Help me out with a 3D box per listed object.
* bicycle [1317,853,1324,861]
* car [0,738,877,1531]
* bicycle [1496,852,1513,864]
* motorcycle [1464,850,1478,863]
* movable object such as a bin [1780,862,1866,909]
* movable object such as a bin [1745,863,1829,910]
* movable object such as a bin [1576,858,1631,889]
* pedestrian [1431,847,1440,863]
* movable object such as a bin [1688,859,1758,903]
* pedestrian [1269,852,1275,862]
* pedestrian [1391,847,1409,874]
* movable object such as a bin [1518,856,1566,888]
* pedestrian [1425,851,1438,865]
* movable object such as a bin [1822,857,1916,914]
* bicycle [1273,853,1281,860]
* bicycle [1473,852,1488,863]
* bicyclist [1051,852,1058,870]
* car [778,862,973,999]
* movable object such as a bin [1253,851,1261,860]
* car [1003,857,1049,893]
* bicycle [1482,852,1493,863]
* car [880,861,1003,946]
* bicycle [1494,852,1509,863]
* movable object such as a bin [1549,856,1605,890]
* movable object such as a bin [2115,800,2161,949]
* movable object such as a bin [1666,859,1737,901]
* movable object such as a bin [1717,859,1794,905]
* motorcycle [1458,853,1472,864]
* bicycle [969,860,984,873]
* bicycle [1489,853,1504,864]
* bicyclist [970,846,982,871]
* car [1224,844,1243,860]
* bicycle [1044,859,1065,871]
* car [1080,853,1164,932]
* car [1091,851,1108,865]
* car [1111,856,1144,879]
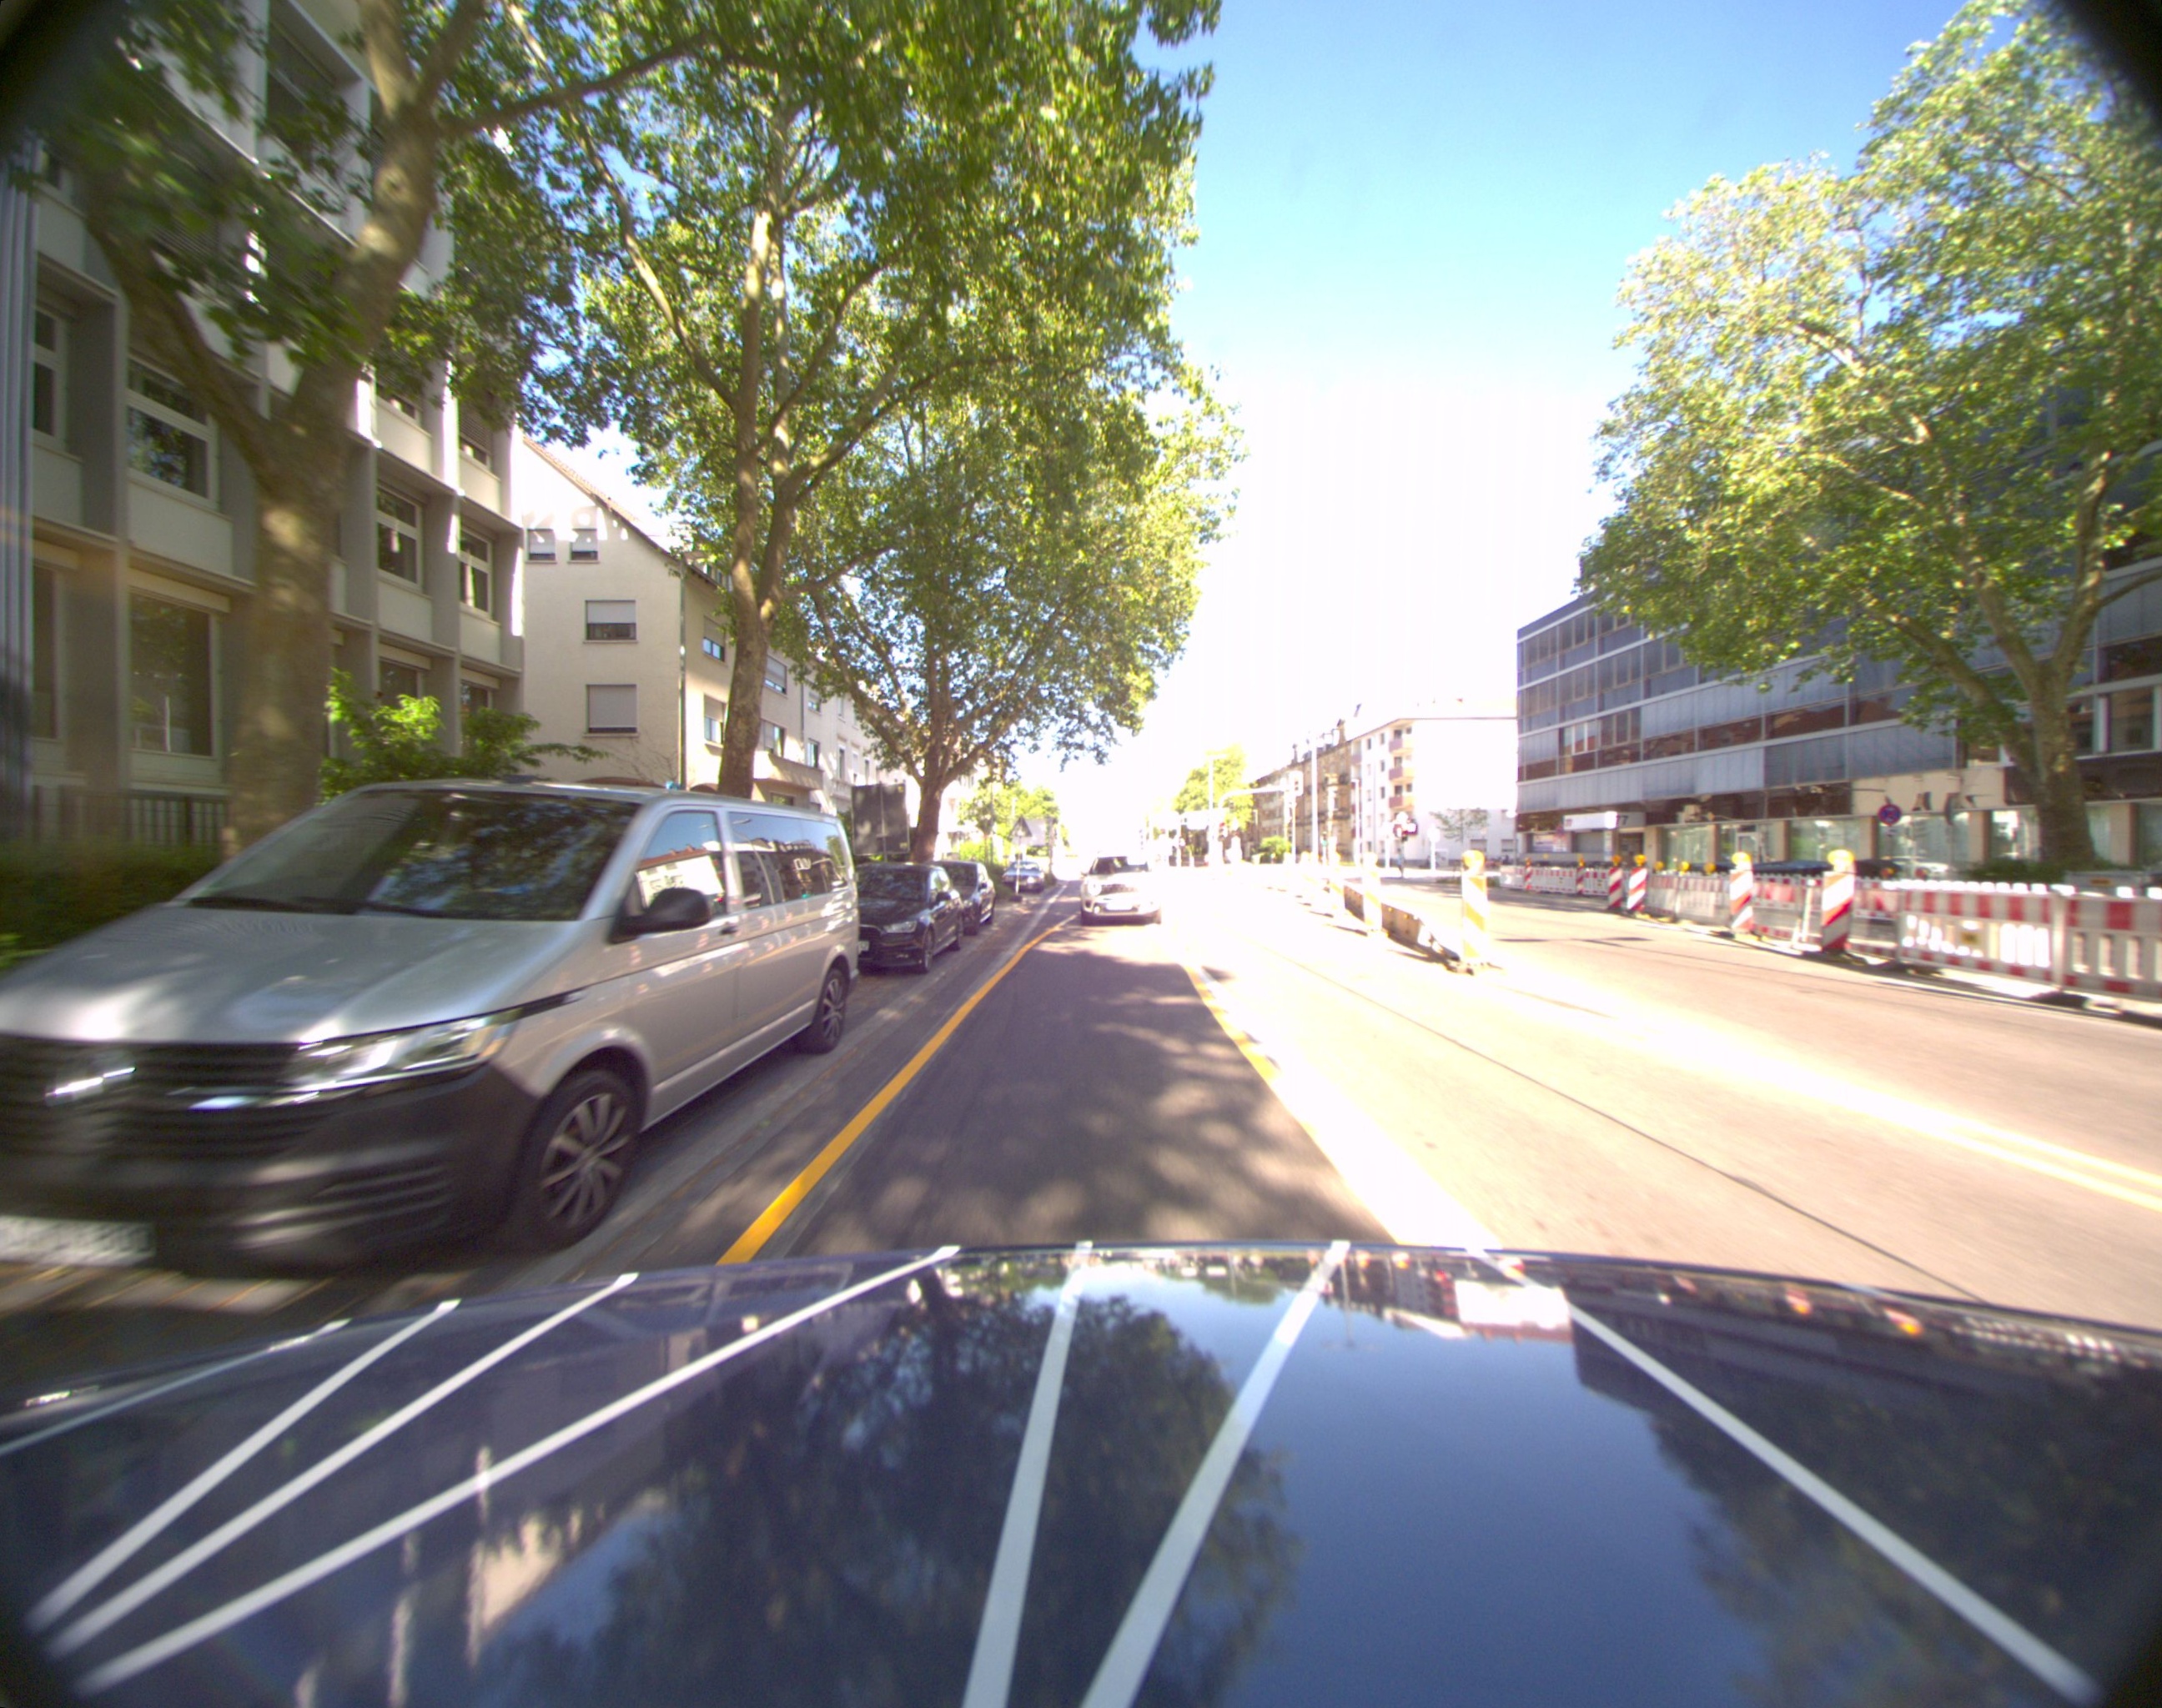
[{"bbox_3d":[27.559,0.375,87.443,0.305,0.952,1.940,0,0,1],"label":"bicycle"},{"bbox_3d":[-2.945,0.684,4.485,2.031,1.935,5.272,-1,0,0],"label":"car"},{"bbox_3d":[36.599,0.332,65.682,0.490,1.062,1.737,-1,0,3],"label":"bicycle"},{"bbox_3d":[34.573,0.247,67.356,0.612,1.135,1.784,-1,0,9],"label":"motorcycle"},{"bbox_3d":[21.258,0.873,21.817,0.982,1.263,1.540,-1,0,0],"label":"movable object such as a bin"},{"bbox_3d":[20.240,0.907,21.830,0.982,1.263,1.540,-1,0,0],"label":"movable object such as a bin"},{"bbox_3d":[20.969,0.777,30.514,1.397,1.196,1.241,-1,1,3],"label":"movable object such as a bin"},{"bbox_3d":[32.667,0.061,70.003,0.601,1.488,0.695,-1,1,4],"label":"pedestrian"},{"bbox_3d":[20.402,0.850,24.164,1.413,1.330,0.936,-1,1,3],"label":"movable object such as a bin"},{"bbox_3d":[26.848,0.404,106.858,0.568,1.370,1.089,1,2,-1],"label":"pedestrian"},{"bbox_3d":[20.562,0.431,48.989,0.866,1.701,1.013,-1,0,8],"label":"pedestrian"},{"bbox_3d":[20.951,0.814,34.590,1.116,1.380,1.856,-1,0,2],"label":"movable object such as a bin"},{"bbox_3d":[30.545,0.340,66.281,0.719,1.146,0.788,-1,1,-12],"label":"pedestrian"},{"bbox_3d":[20.739,0.796,20.002,1.637,1.414,1.260,-1,1,-25],"label":"movable object such as a bin"},{"bbox_3d":[27.558,0.403,107.034,0.468,0.999,2.250,-2,0,-1],"label":"bicycle"},{"bbox_3d":[36.001,0.293,68.469,0.575,0.963,1.737,-1,0,5],"label":"bicycle"},{"bbox_3d":[-2.492,0.696,72.329,0.605,1.698,0.858,-1,0,1],"label":"bicyclist"},{"bbox_3d":[-2.756,0.941,11.176,1.661,1.531,4.128,-2,0,0],"label":"car"},{"bbox_3d":[27.012,0.264,116.781,0.895,1.352,1.474,1,-1,2],"label":"movable object such as a bin"},{"bbox_3d":[-2.476,0.913,35.392,1.857,1.471,4.941,-1,0,-1],"label":"car"},{"bbox_3d":[35.112,0.314,65.657,0.507,0.972,1.887,-1,0,17],"label":"bicycle"},{"bbox_3d":[-2.800,0.934,16.167,1.768,1.499,4.250,-1,0,0],"label":"car"},{"bbox_3d":[37.879,0.313,68.441,0.575,1.052,1.691,-1,0,5],"label":"bicycle"},{"bbox_3d":[21.024,0.789,32.252,1.217,1.380,1.856,-1,0,2],"label":"movable object such as a bin"},{"bbox_3d":[20.682,0.357,11.702,2.152,2.690,5.353,-1,0,-2],"label":"movable object such as a bin"},{"bbox_3d":[20.604,0.854,25.249,1.413,1.330,1.157,-1,1,3],"label":"movable object such as a bin"},{"bbox_3d":[20.506,0.837,23.129,1.413,1.330,1.069,-1,1,2],"label":"movable object such as a bin"},{"bbox_3d":[33.472,0.380,66.204,0.504,0.931,1.843,-1,0,8],"label":"motorcycle"},{"bbox_3d":[-7.901,0.953,57.550,0.784,0.960,1.823,-1,0,3],"label":"bicycle"},{"bbox_3d":[35.673,0.365,65.245,0.478,0.942,1.953,-1,0,9],"label":"bicycle"},{"bbox_3d":[-7.944,0.331,57.524,0.725,1.810,1.070,-1,1,1],"label":"bicyclist"},{"bbox_3d":[26.069,-0.304,130.040,2.250,2.431,5.288,1,-1,1],"label":"car"},{"bbox_3d":[-2.541,1.045,72.386,1.967,1.019,0.605,-2,0,0],"label":"bicycle"},{"bbox_3d":[0.997,0.816,17.923,1.743,1.648,3.691,-1,0,4],"label":"car"},{"bbox_3d":[2.422,0.528,97.783,1.999,1.761,4.000,-2,0,0],"label":"car"},{"bbox_3d":[3.072,0.883,50.915,1.998,1.426,4.873,0,1,1],"label":"car"}]
